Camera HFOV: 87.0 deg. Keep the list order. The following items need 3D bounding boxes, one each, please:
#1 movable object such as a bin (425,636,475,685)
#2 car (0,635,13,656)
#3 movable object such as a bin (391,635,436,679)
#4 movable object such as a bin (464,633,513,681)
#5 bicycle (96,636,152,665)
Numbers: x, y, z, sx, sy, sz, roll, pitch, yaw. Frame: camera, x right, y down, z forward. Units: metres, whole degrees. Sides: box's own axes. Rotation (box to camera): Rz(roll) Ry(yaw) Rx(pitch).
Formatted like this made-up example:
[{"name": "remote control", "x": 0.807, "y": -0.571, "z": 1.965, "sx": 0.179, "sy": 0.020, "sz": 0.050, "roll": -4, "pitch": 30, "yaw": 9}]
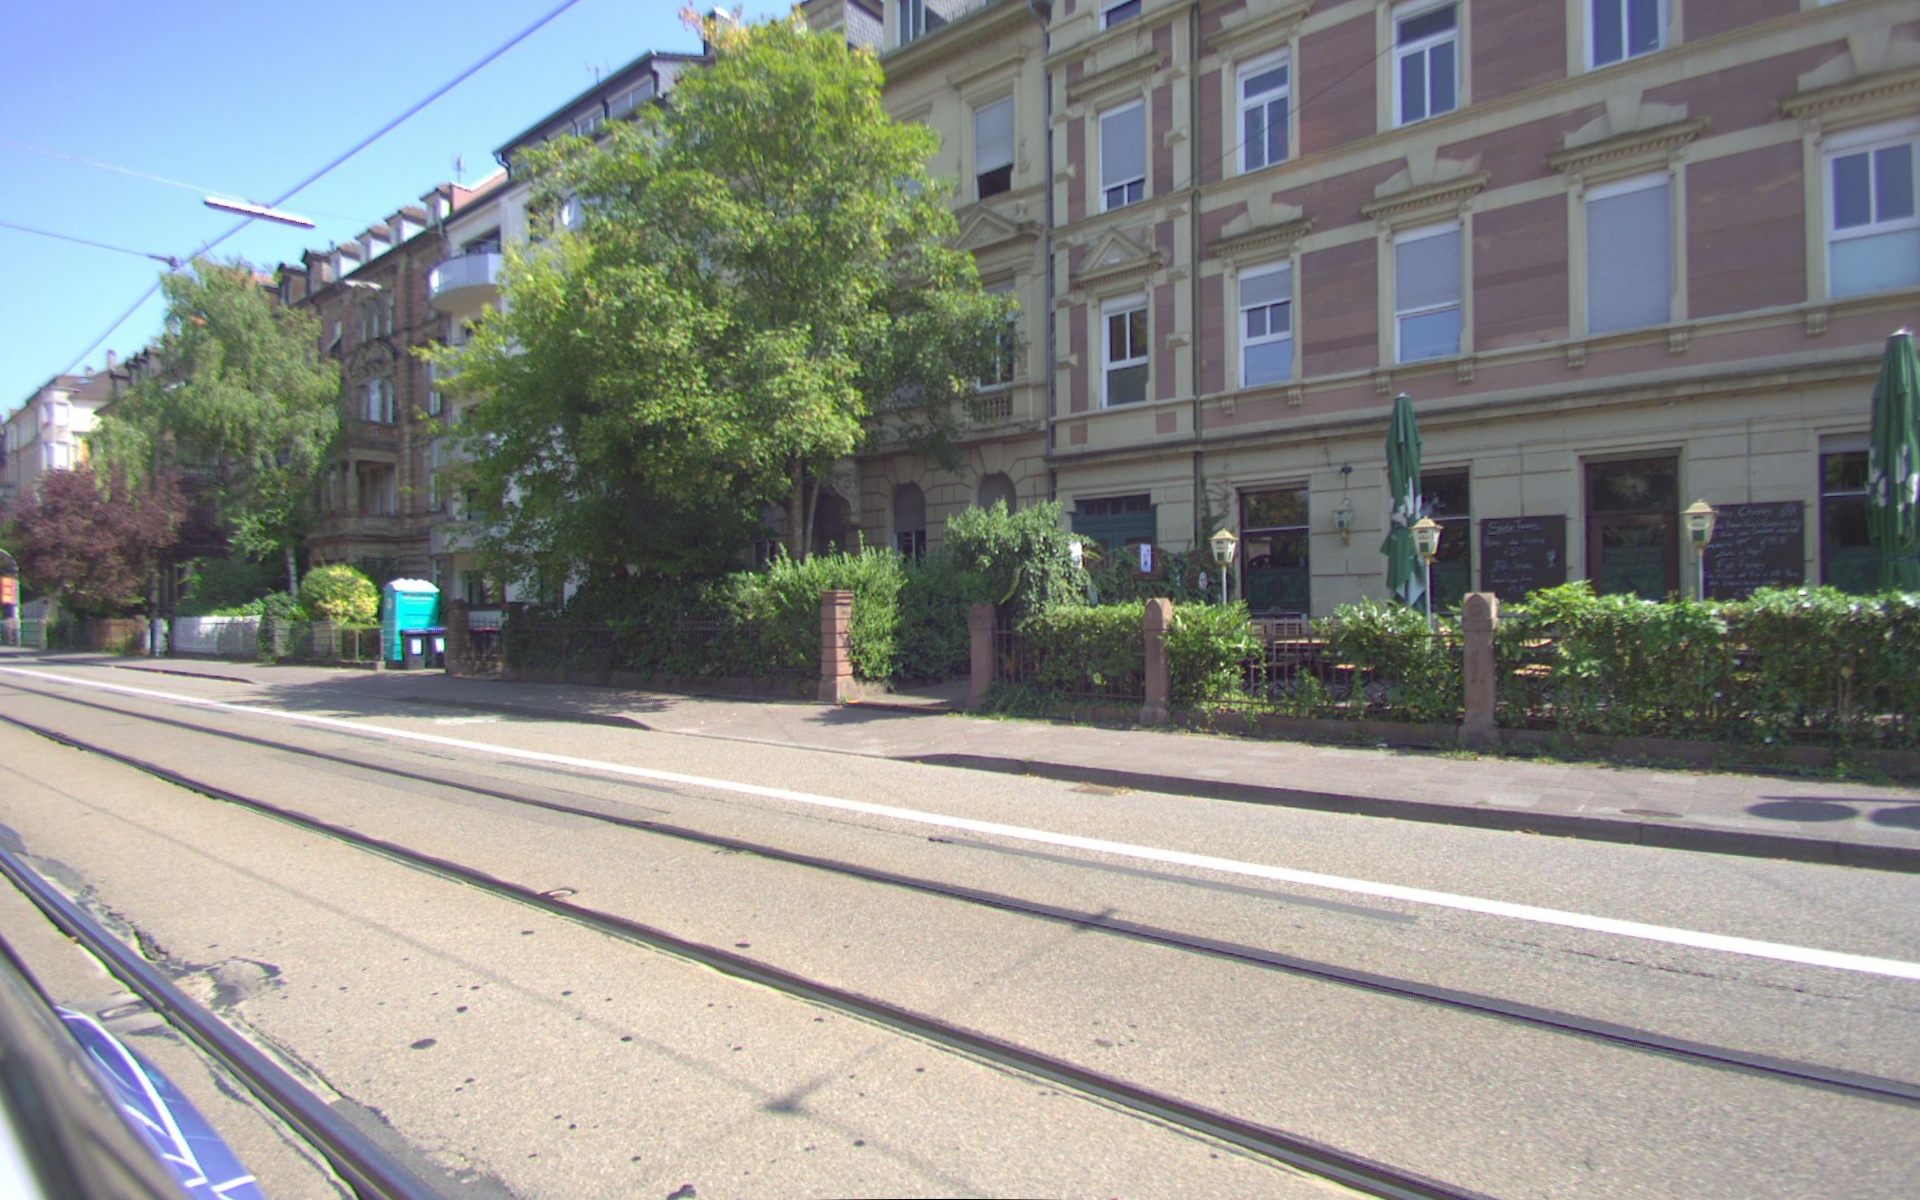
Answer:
[{"name": "movable object such as a bin", "x": -12.003, "y": 1.409, "z": 23.813, "sx": 0.803, "sy": 1.084, "sz": 0.778, "roll": -2, "pitch": 0, "yaw": 42}, {"name": "car", "x": -77.377, "y": 3.633, "z": 79.565, "sx": 1.877, "sy": 1.606, "sz": 4.060, "roll": -2, "pitch": -1, "yaw": 40}, {"name": "movable object such as a bin", "x": -14.314, "y": 1.485, "z": 26.521, "sx": 0.753, "sy": 1.084, "sz": 0.779, "roll": -2, "pitch": 0, "yaw": 37}, {"name": "movable object such as a bin", "x": -11.329, "y": 1.365, "z": 24.306, "sx": 0.803, "sy": 1.084, "sz": 0.778, "roll": -2, "pitch": 0, "yaw": 42}, {"name": "bicycle", "x": -36.861, "y": 2.216, "z": 44.628, "sx": 0.716, "sy": 1.191, "sz": 1.794, "roll": -2, "pitch": 0, "yaw": 41}]
